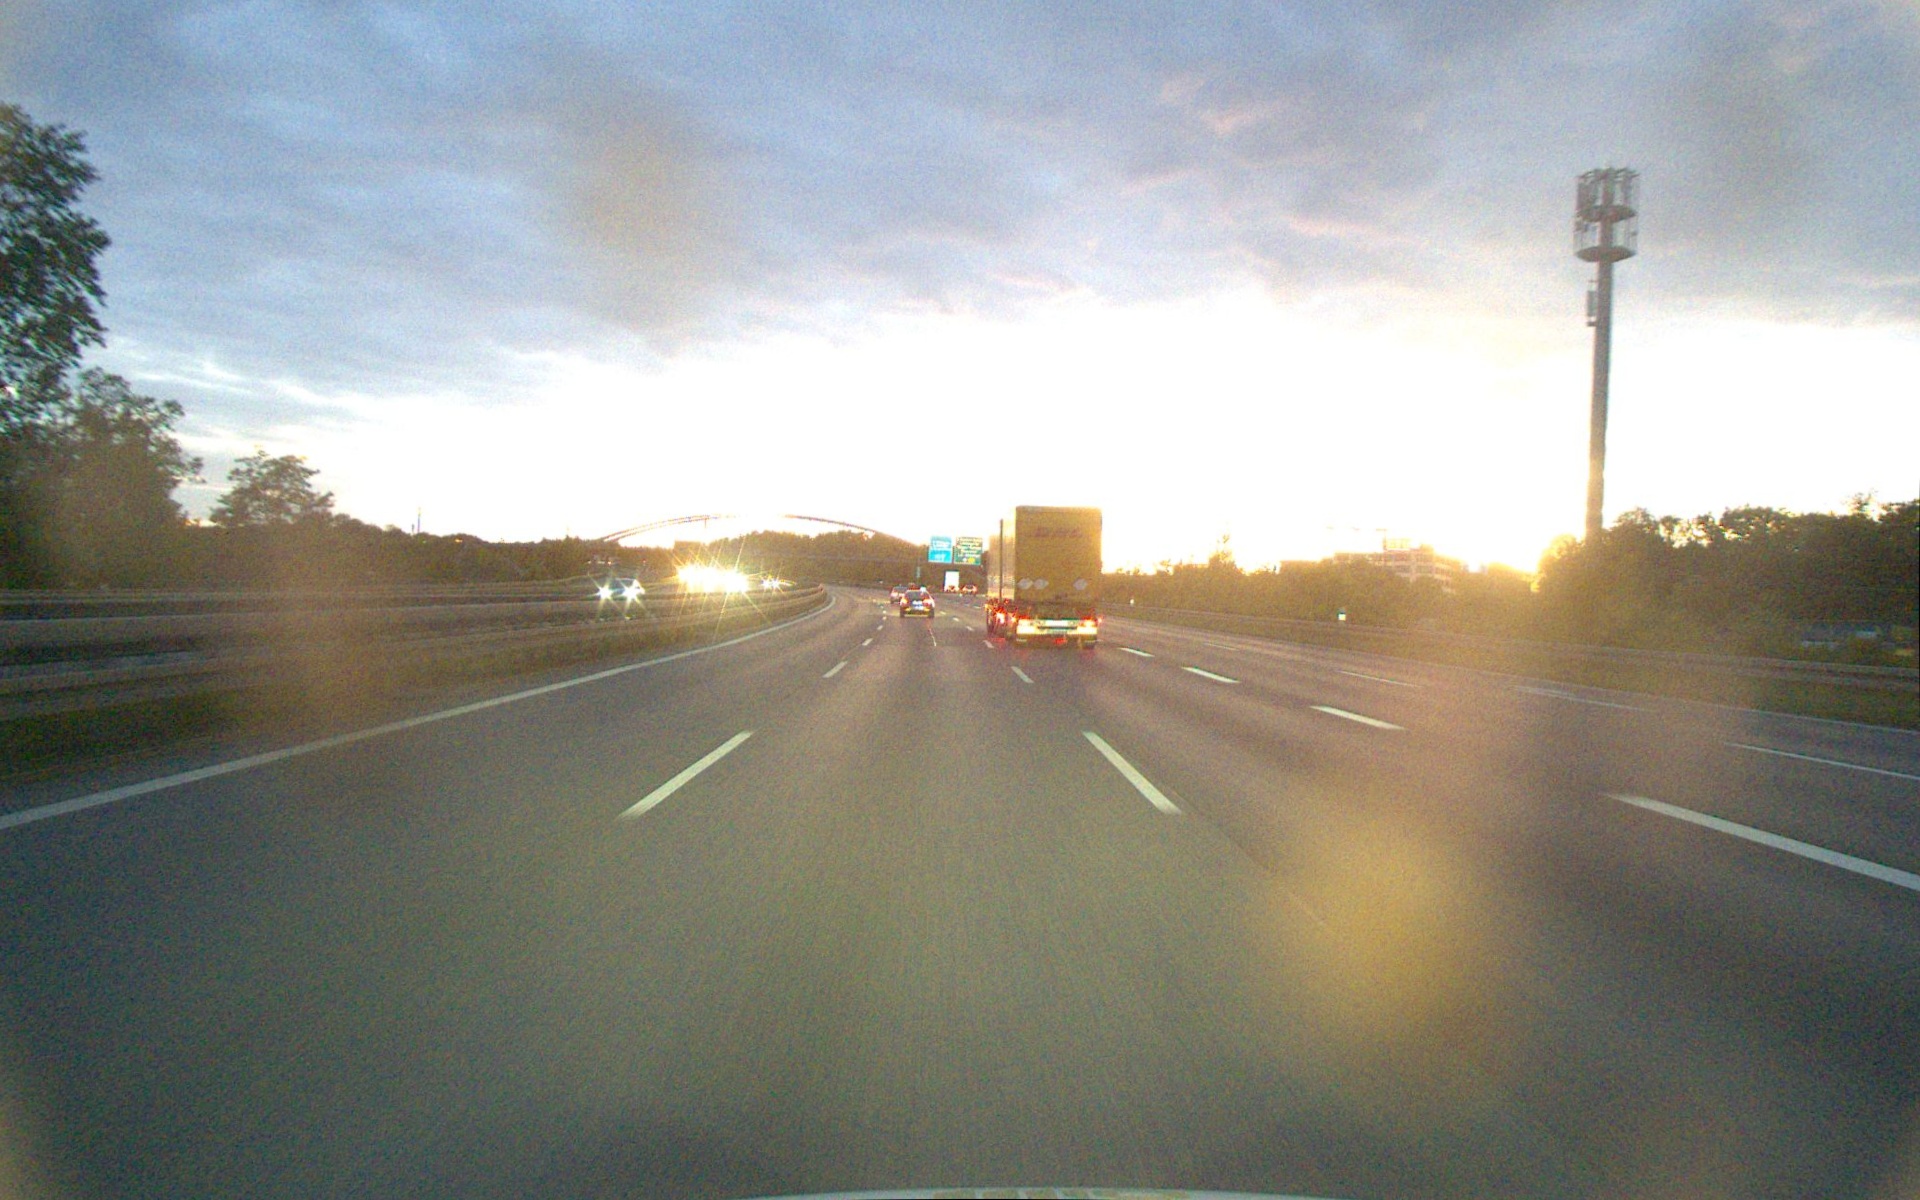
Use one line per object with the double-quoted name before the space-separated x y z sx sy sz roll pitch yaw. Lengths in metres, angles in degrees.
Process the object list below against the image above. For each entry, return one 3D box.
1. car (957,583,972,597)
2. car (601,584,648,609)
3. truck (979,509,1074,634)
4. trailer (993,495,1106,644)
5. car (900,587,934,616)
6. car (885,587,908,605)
"car" 0.677 -1.324 229.570 1.953 1.747 3.999 2 -1 -1
"car" -19.432 -0.210 96.014 1.954 1.382 4.863 1 1 -3
"truck" 2.295 -1.007 60.805 2.636 4.142 10.516 1 1 -2
"trailer" 2.616 -0.906 51.148 2.667 4.142 8.828 1 1 -2
"car" -2.319 0.092 88.565 1.656 1.426 3.406 1 -1 -3
"car" -5.397 -0.351 140.387 1.654 1.426 3.409 1 -1 3
